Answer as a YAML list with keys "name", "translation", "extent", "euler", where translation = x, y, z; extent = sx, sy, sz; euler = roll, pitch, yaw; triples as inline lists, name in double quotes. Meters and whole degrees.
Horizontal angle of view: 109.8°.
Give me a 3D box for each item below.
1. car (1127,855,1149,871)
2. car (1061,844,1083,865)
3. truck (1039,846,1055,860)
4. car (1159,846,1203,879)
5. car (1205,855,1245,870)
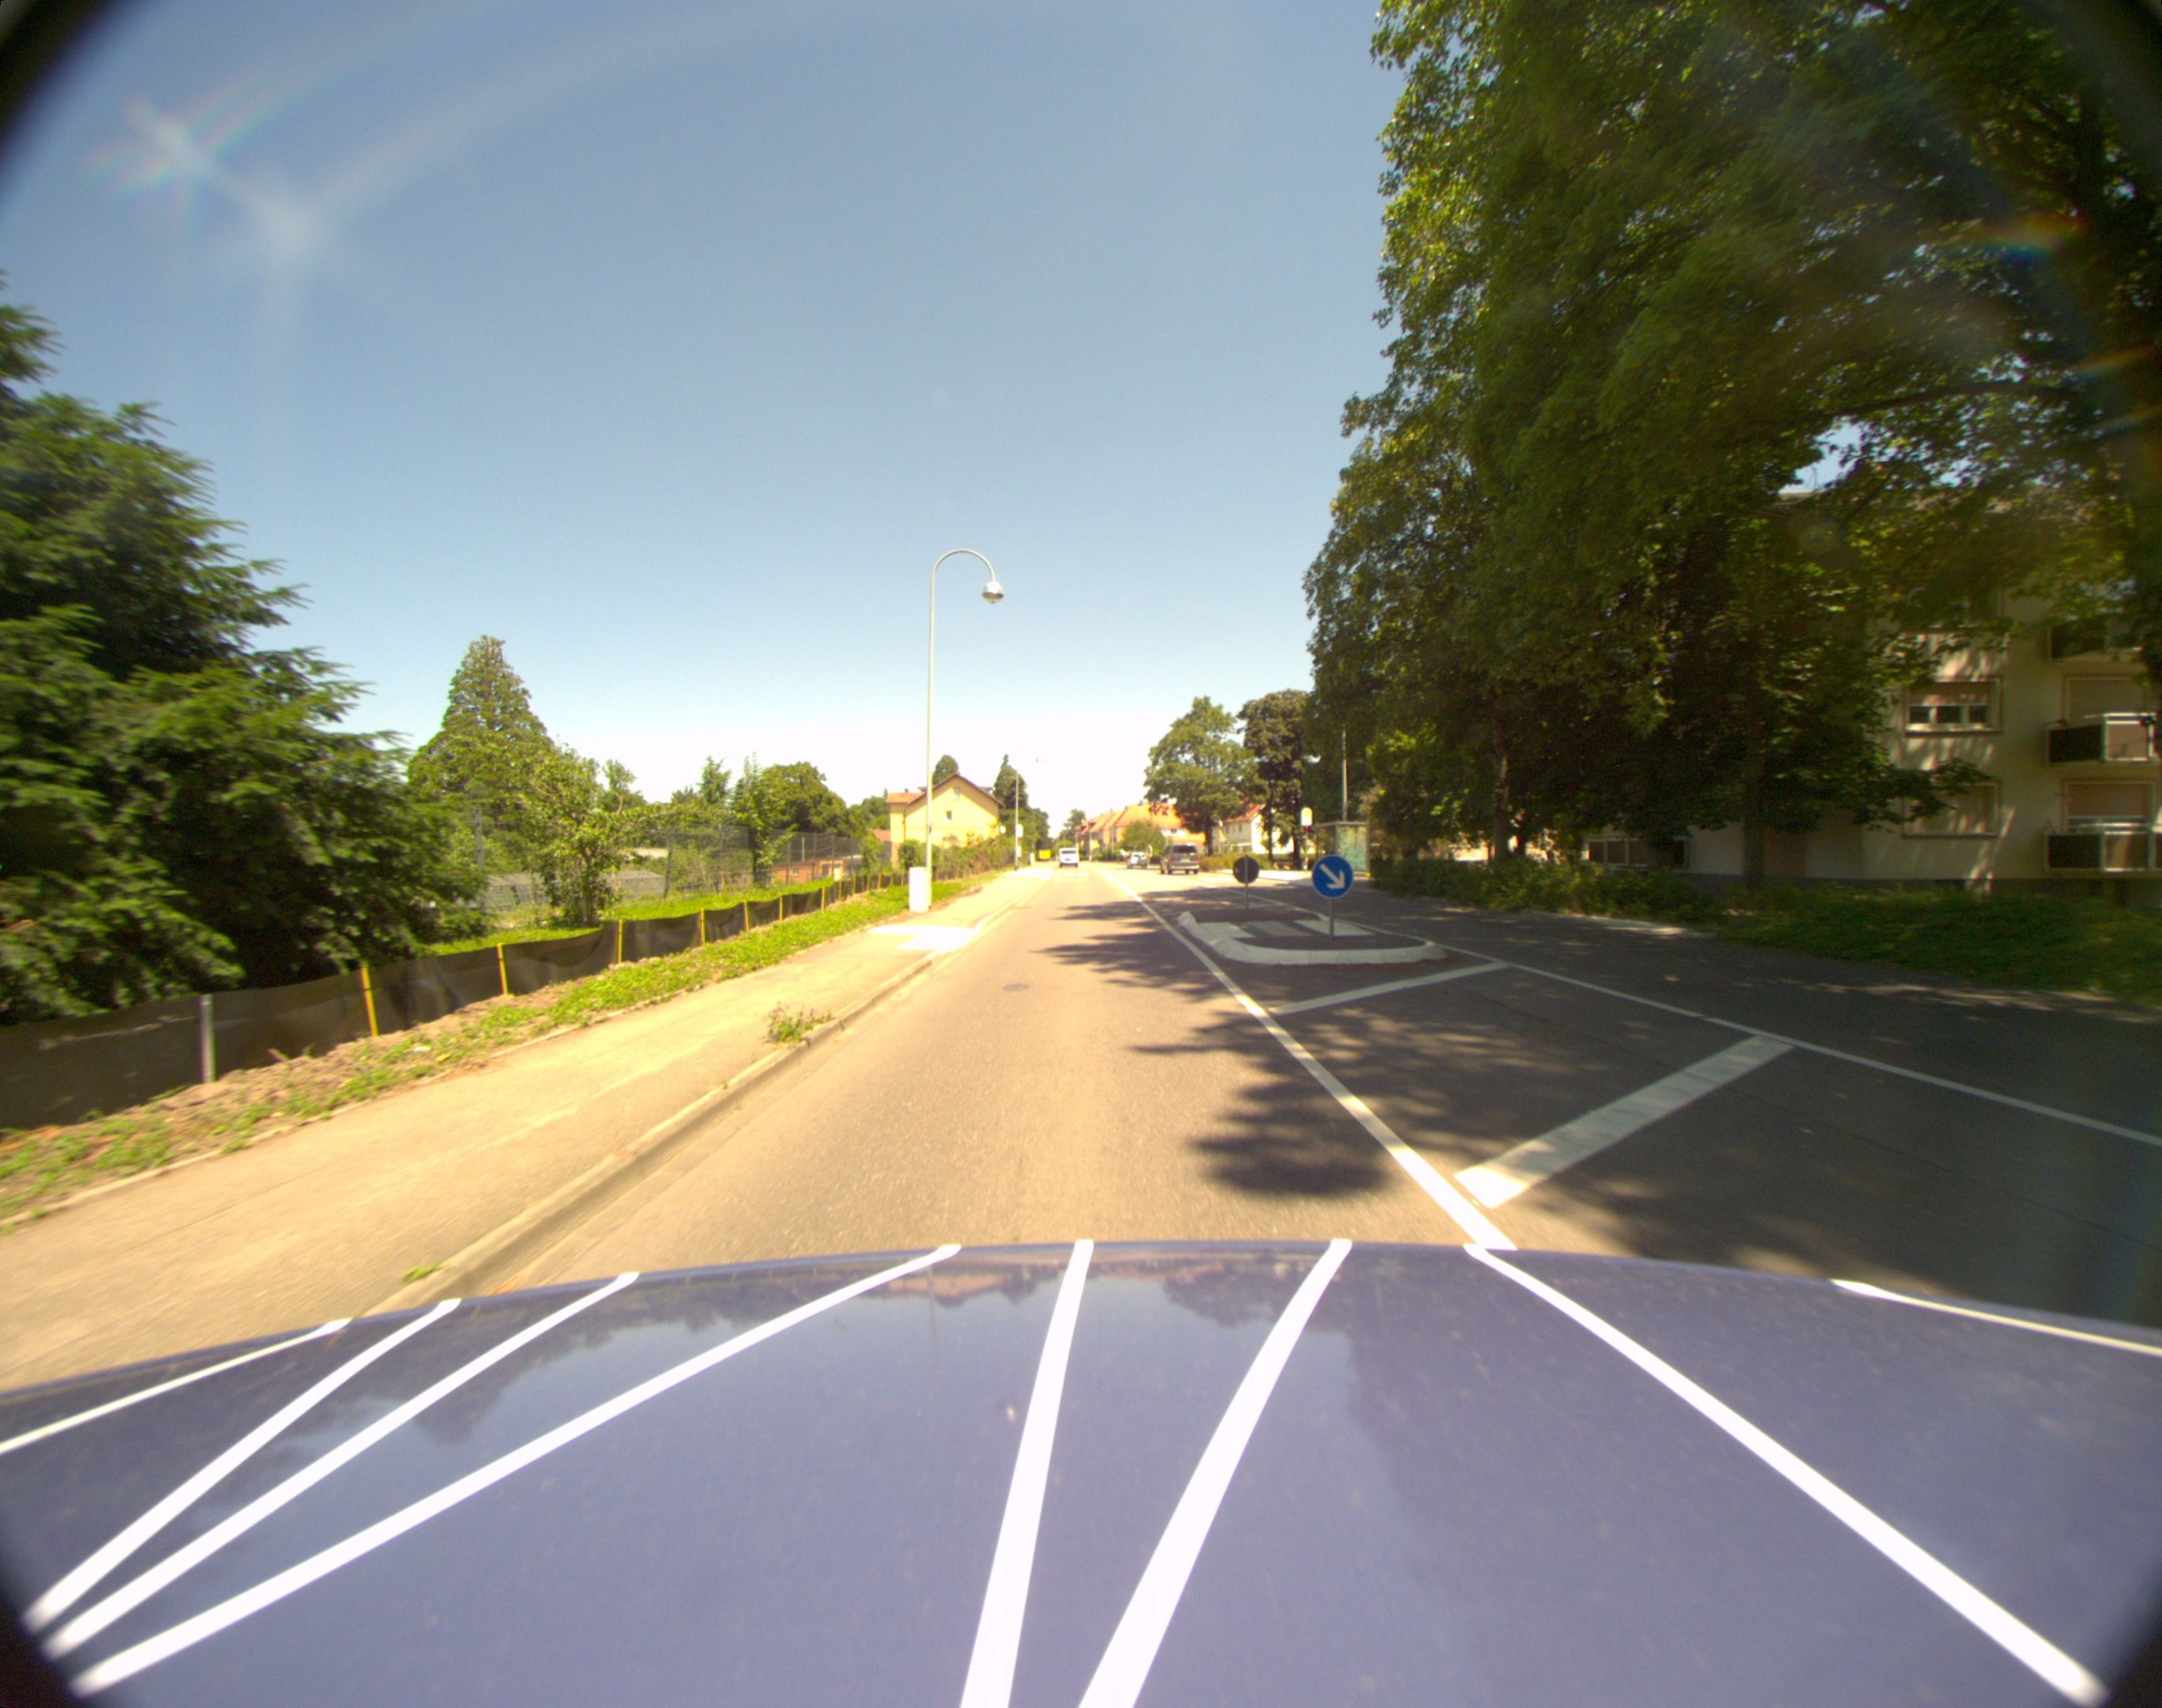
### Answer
- name: "car"
  translation: [5.588, 0.859, 74.347]
  extent: [1.695, 1.451, 3.639]
  euler: [-2, -1, -3]
- name: "car"
  translation: [-0.995, 0.066, 79.720]
  extent: [1.999, 2.001, 4.385]
  euler: [-2, -1, -5]
- name: "truck"
  translation: [-6.473, -0.232, 142.499]
  extent: [2.020, 2.294, 6.172]
  euler: [-4, -1, -11]
- name: "car"
  translation: [6.341, 0.510, 48.688]
  extent: [1.999, 1.899, 4.989]
  euler: [-2, 1, -1]
- name: "car"
  translation: [14.338, 0.818, 75.594]
  extent: [3.695, 1.441, 1.552]
  euler: [0, -1, -23]
